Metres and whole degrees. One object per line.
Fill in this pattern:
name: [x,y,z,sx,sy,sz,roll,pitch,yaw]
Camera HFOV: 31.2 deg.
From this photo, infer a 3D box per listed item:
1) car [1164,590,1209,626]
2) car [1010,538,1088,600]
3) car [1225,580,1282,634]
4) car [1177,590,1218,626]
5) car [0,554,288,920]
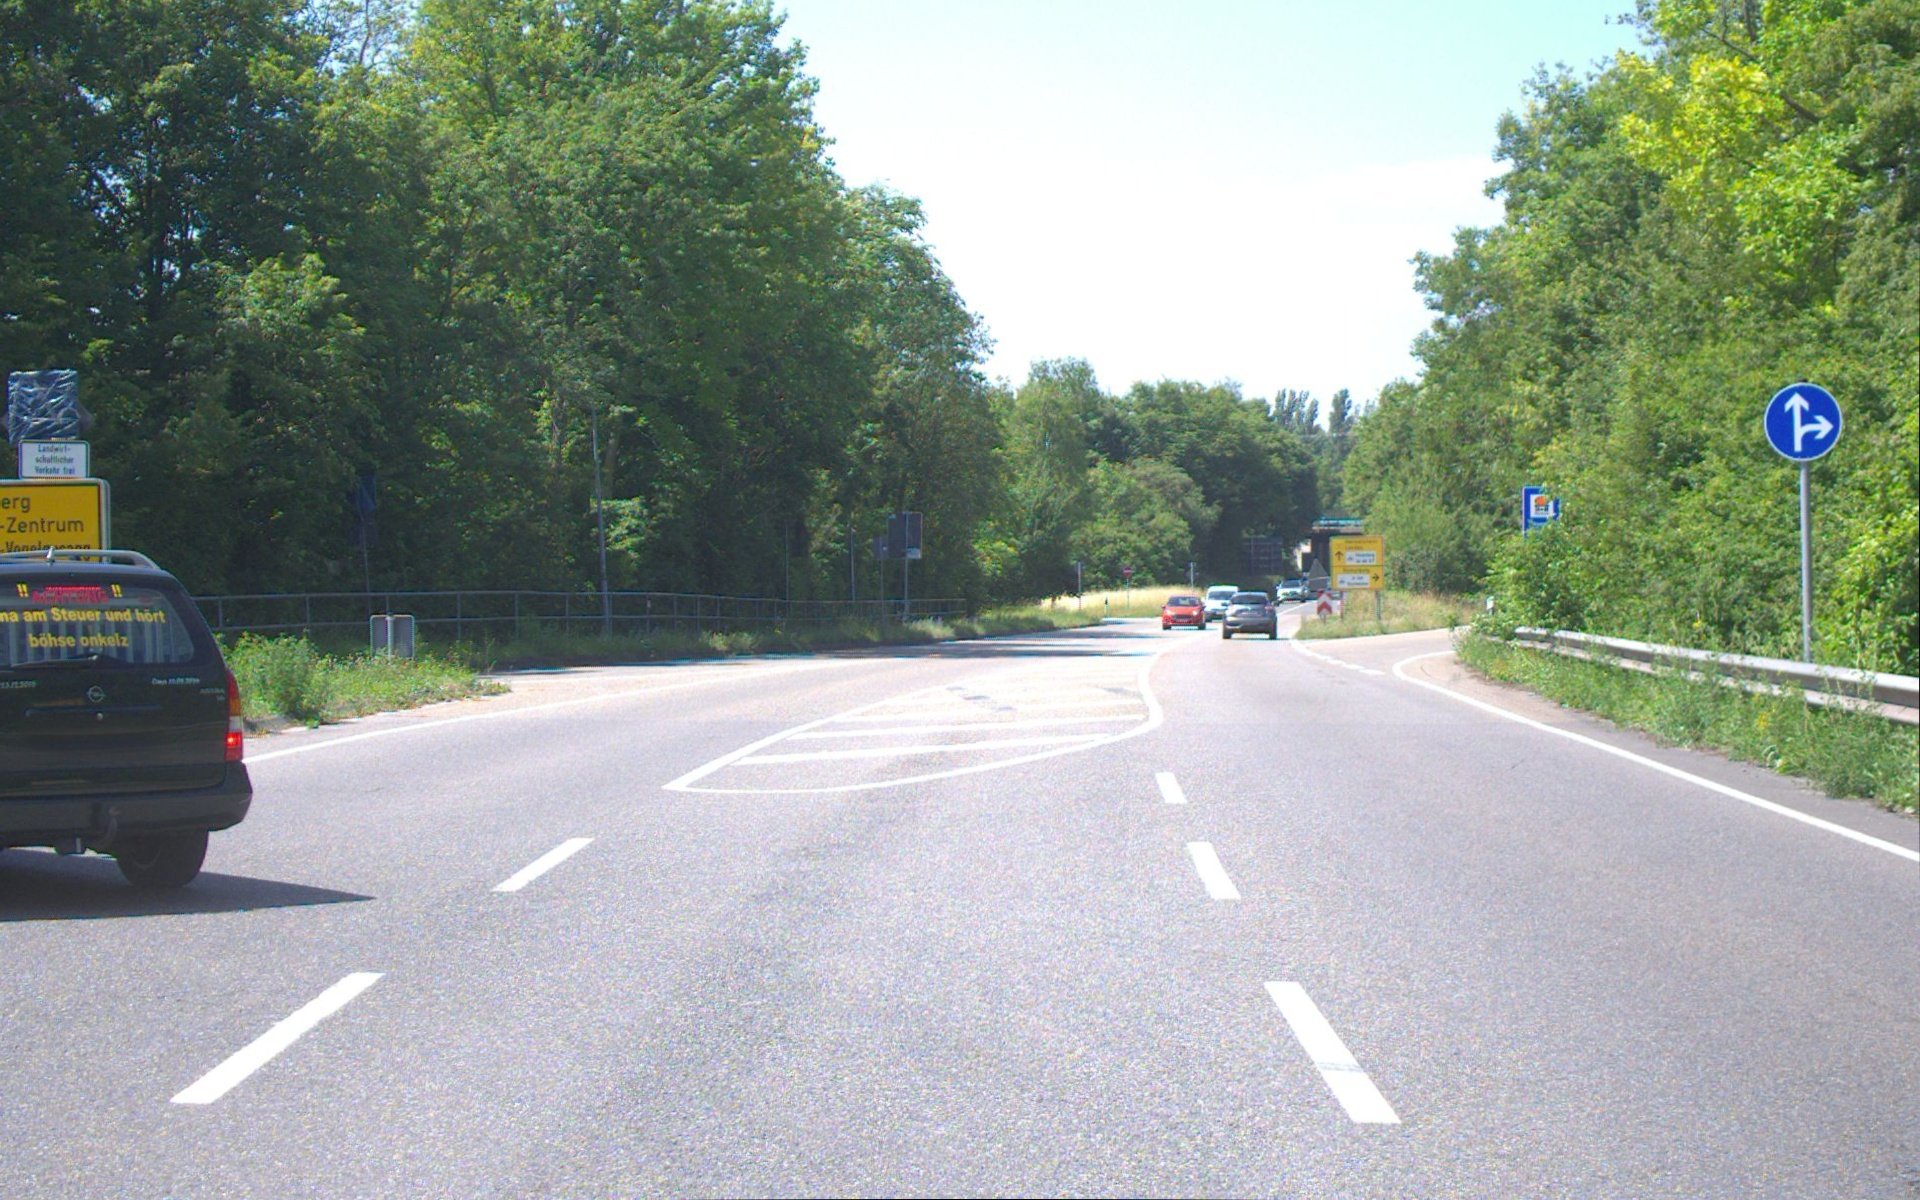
car: [9.566,0.331,145.291,1.810,1.453,3.757,0,1,5]
car: [4.647,-1.643,180.753,1.993,3.215,4.809,-1,1,-28]
car: [9.735,0.222,114.288,1.843,1.679,4.000,0,1,4]
car: [11.981,0.379,173.432,1.994,1.724,4.274,-1,1,4]
car: [-4.769,0.528,15.364,1.721,1.452,3.795,-1,1,-43]
